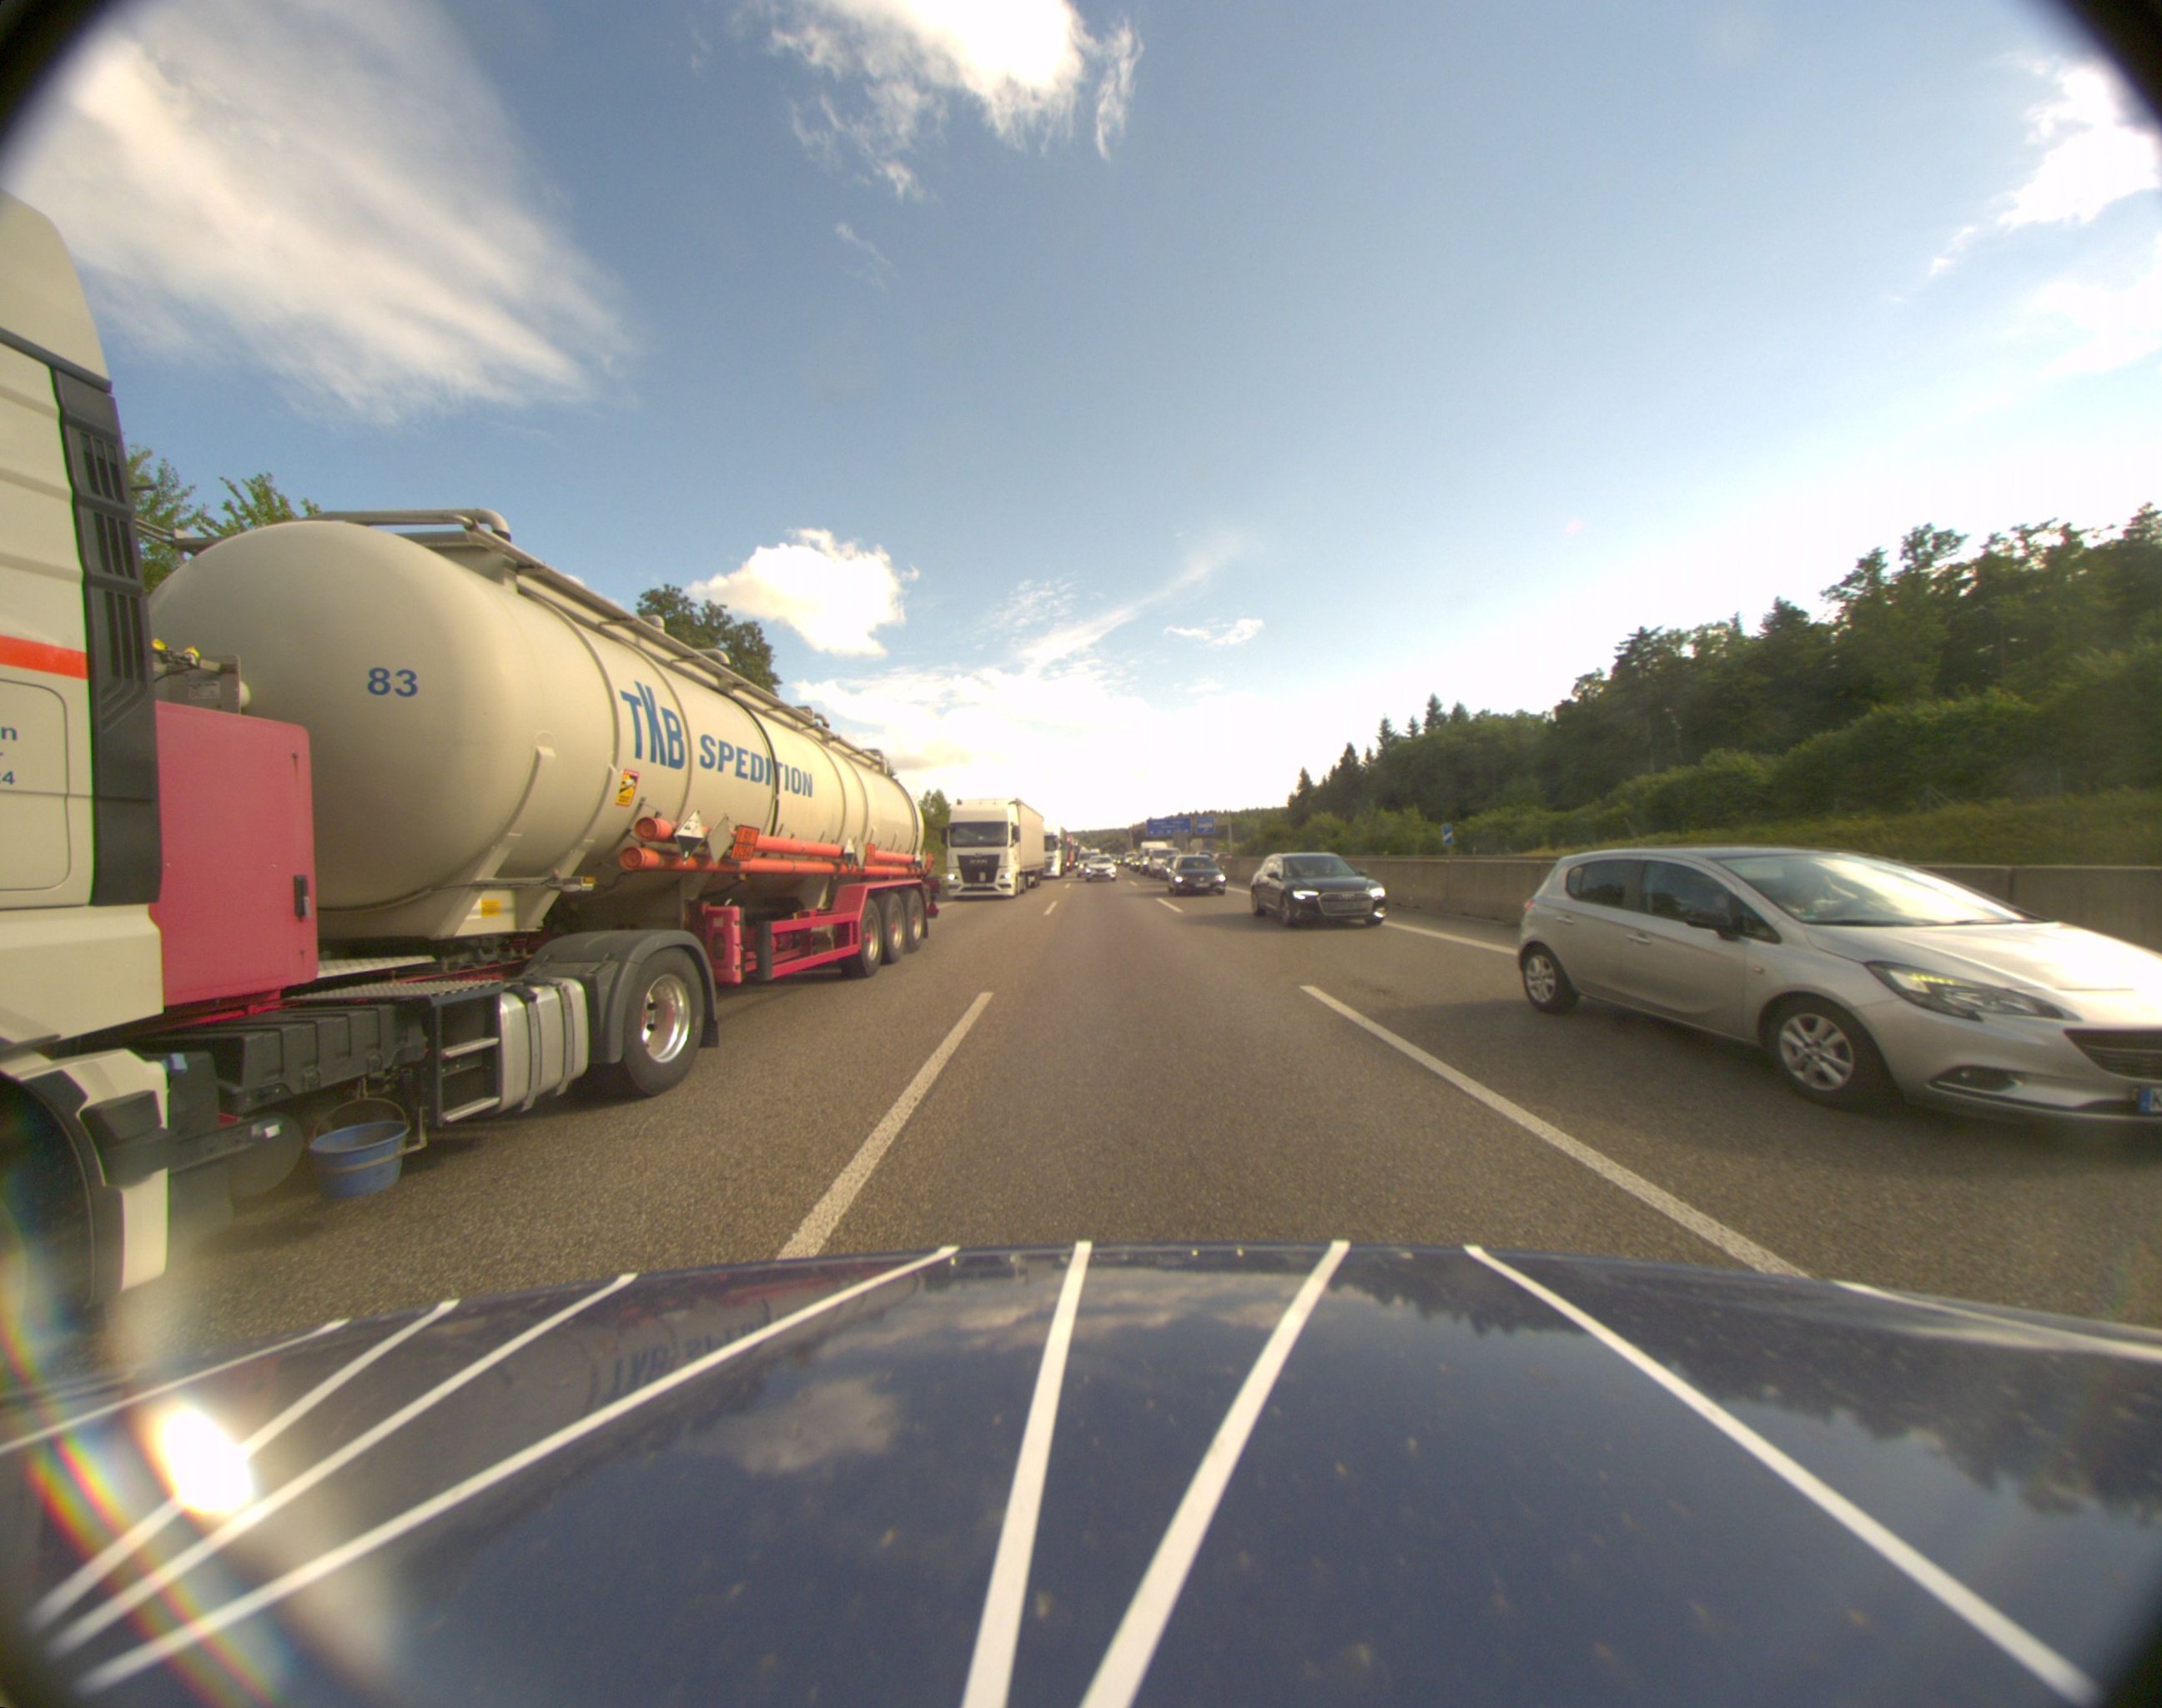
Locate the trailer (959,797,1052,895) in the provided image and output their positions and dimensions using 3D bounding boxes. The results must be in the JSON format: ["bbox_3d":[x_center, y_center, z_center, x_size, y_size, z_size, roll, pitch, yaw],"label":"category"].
[{"bbox_3d":[-3.394,-0.369,38.337,2.832,4.047,13.372,-1,0,2],"label":"trailer"}]

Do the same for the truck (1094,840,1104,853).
[{"bbox_3d":[6.102,-2.402,252.996,2.840,4.178,12.045,-2,1,3],"label":"truck"}]

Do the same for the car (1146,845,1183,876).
[{"bbox_3d":[5.519,0.408,50.608,1.947,1.953,4.848,-2,0,1],"label":"car"}]

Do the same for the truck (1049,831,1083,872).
[{"bbox_3d":[-1.518,-0.344,85.091,2.840,4.178,12.045,-2,1,3],"label":"truck"}]

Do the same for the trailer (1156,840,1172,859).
[{"bbox_3d":[23.348,-1.284,214.904,3.050,5.250,13.833,-2,1,0],"label":"trailer"}]

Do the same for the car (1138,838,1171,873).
[{"bbox_3d":[5.629,0.118,58.712,2.054,2.557,5.861,-1,0,1],"label":"car"}]

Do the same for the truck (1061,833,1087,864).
[{"bbox_3d":[-0.875,-0.802,109.263,2.840,4.178,12.045,-2,1,3],"label":"truck"}]

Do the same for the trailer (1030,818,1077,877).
[{"bbox_3d":[-2.038,-0.498,62.477,2.841,4.177,13.613,-2,0,1],"label":"trailer"}]

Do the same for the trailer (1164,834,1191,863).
[{"bbox_3d":[17.657,-0.991,140.417,3.096,5.044,13.832,-2,1,0],"label":"trailer"}]

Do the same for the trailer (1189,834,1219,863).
[{"bbox_3d":[21.822,-1.058,135.365,2.934,4.802,14.651,-2,1,0],"label":"trailer"}]

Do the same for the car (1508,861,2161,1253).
[{"bbox_3d":[4.790,0.808,4.963,1.751,1.457,4.041,-1,0,1],"label":"car"}]

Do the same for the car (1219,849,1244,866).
[{"bbox_3d":[17.192,0.403,87.026,1.857,1.799,4.624,-2,0,0],"label":"car"}]

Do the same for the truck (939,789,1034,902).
[{"bbox_3d":[-3.642,-0.329,30.661,2.841,4.048,5.707,-2,1,2],"label":"truck"}]

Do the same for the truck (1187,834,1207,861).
[{"bbox_3d":[21.837,-1.183,143.070,2.939,4.831,4.765,-2,1,0],"label":"truck"}]

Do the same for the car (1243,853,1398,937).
[{"bbox_3d":[4.893,0.751,16.288,1.887,1.463,4.852,-2,0,2],"label":"car"}]

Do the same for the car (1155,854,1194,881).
[{"bbox_3d":[5.337,0.744,43.812,1.809,1.423,3.994,-2,0,1],"label":"car"}]

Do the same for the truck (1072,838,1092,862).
[{"bbox_3d":[0.257,-0.785,137.575,2.840,4.178,12.045,-2,1,3],"label":"truck"}]

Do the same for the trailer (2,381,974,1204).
[{"bbox_3d":[-3.732,-0.302,9.362,2.805,4.003,11.182,-2,0,2],"label":"trailer"}]

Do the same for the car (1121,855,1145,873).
[{"bbox_3d":[4.440,0.800,64.750,1.809,1.423,3.660,-2,0,1],"label":"car"}]

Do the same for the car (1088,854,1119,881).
[{"bbox_3d":[1.356,0.788,47.001,1.809,1.488,4.666,-1,0,1],"label":"car"}]

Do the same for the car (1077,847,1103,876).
[{"bbox_3d":[0.716,0.519,58.187,1.809,2.052,4.770,-2,0,1],"label":"car"}]

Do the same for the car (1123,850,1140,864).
[{"bbox_3d":[6.603,0.408,99.993,1.920,1.785,3.811,-2,0,1],"label":"car"}]

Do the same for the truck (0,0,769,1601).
[{"bbox_3d":[-3.950,-0.231,2.892,2.809,4.020,5.904,-2,1,2],"label":"truck"}]

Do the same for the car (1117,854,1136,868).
[{"bbox_3d":[4.894,0.699,81.881,1.809,1.423,3.660,-2,0,1],"label":"car"}]

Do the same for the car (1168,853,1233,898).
[{"bbox_3d":[4.370,0.743,28.397,1.915,1.469,4.569,-1,0,3],"label":"car"}]

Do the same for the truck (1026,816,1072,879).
[{"bbox_3d":[-2.227,-0.464,54.972,2.841,4.177,5.707,-2,0,1],"label":"truck"}]

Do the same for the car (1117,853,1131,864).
[{"bbox_3d":[6.573,0.694,115.900,1.920,1.535,3.811,-2,0,1],"label":"car"}]

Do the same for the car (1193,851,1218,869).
[{"bbox_3d":[13.293,0.650,81.213,1.857,1.799,4.624,-2,0,0],"label":"car"}]
